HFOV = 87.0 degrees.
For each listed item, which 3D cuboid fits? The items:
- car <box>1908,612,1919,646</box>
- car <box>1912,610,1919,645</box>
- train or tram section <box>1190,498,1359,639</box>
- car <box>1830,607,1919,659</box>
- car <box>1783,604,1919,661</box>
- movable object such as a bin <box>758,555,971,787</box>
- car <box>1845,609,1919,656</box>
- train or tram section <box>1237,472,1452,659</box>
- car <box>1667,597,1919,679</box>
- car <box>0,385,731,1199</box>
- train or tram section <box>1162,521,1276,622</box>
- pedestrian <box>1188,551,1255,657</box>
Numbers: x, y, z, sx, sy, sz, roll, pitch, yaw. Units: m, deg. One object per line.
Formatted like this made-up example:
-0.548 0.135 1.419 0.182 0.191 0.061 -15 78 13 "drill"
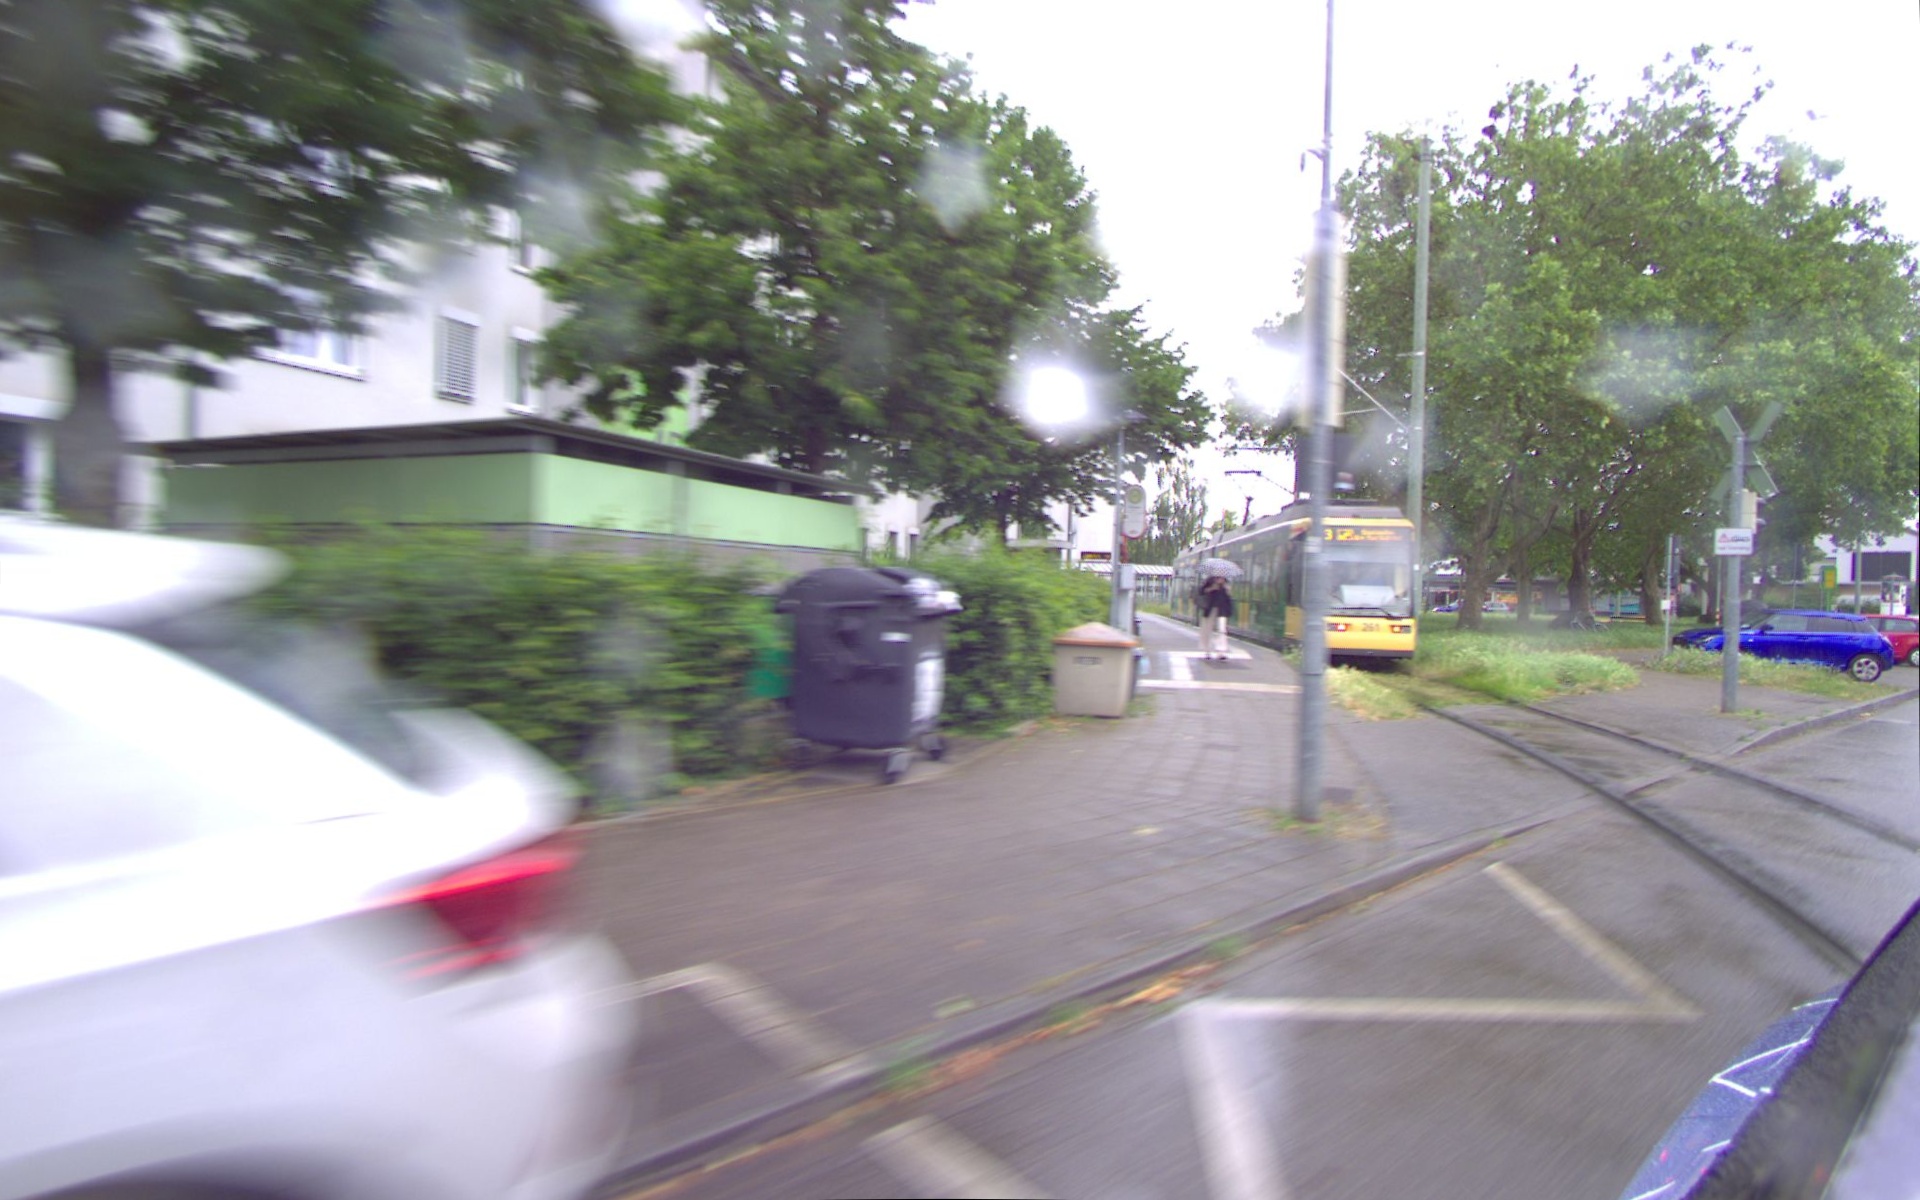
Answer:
42.362 1.299 42.258 3.669 1.433 1.605 3 1 25 "car"
44.488 1.293 44.310 3.669 1.541 1.605 3 1 25 "car"
8.857 -0.883 29.959 2.710 3.381 10.335 2 1 6 "train or tram section"
30.279 1.080 32.103 3.669 1.502 1.605 3 1 25 "car"
27.160 0.960 30.304 3.539 1.477 1.606 3 1 24 "car"
-0.630 0.438 7.353 1.135 1.458 1.472 2 1 11 "movable object such as a bin"
32.775 1.147 34.412 3.669 1.502 1.605 3 1 25 "car"
7.987 -0.723 21.952 2.710 3.381 6.391 2 1 6 "train or tram section"
18.441 0.796 22.605 3.948 1.546 1.710 2 1 18 "car"
-2.505 0.531 0.939 4.040 1.594 1.903 1 2 -41 "car"
9.900 -1.080 39.842 2.710 3.381 10.336 2 1 6 "train or tram section"
4.604 0.053 17.880 0.848 1.796 1.019 2 1 0 "pedestrian"
